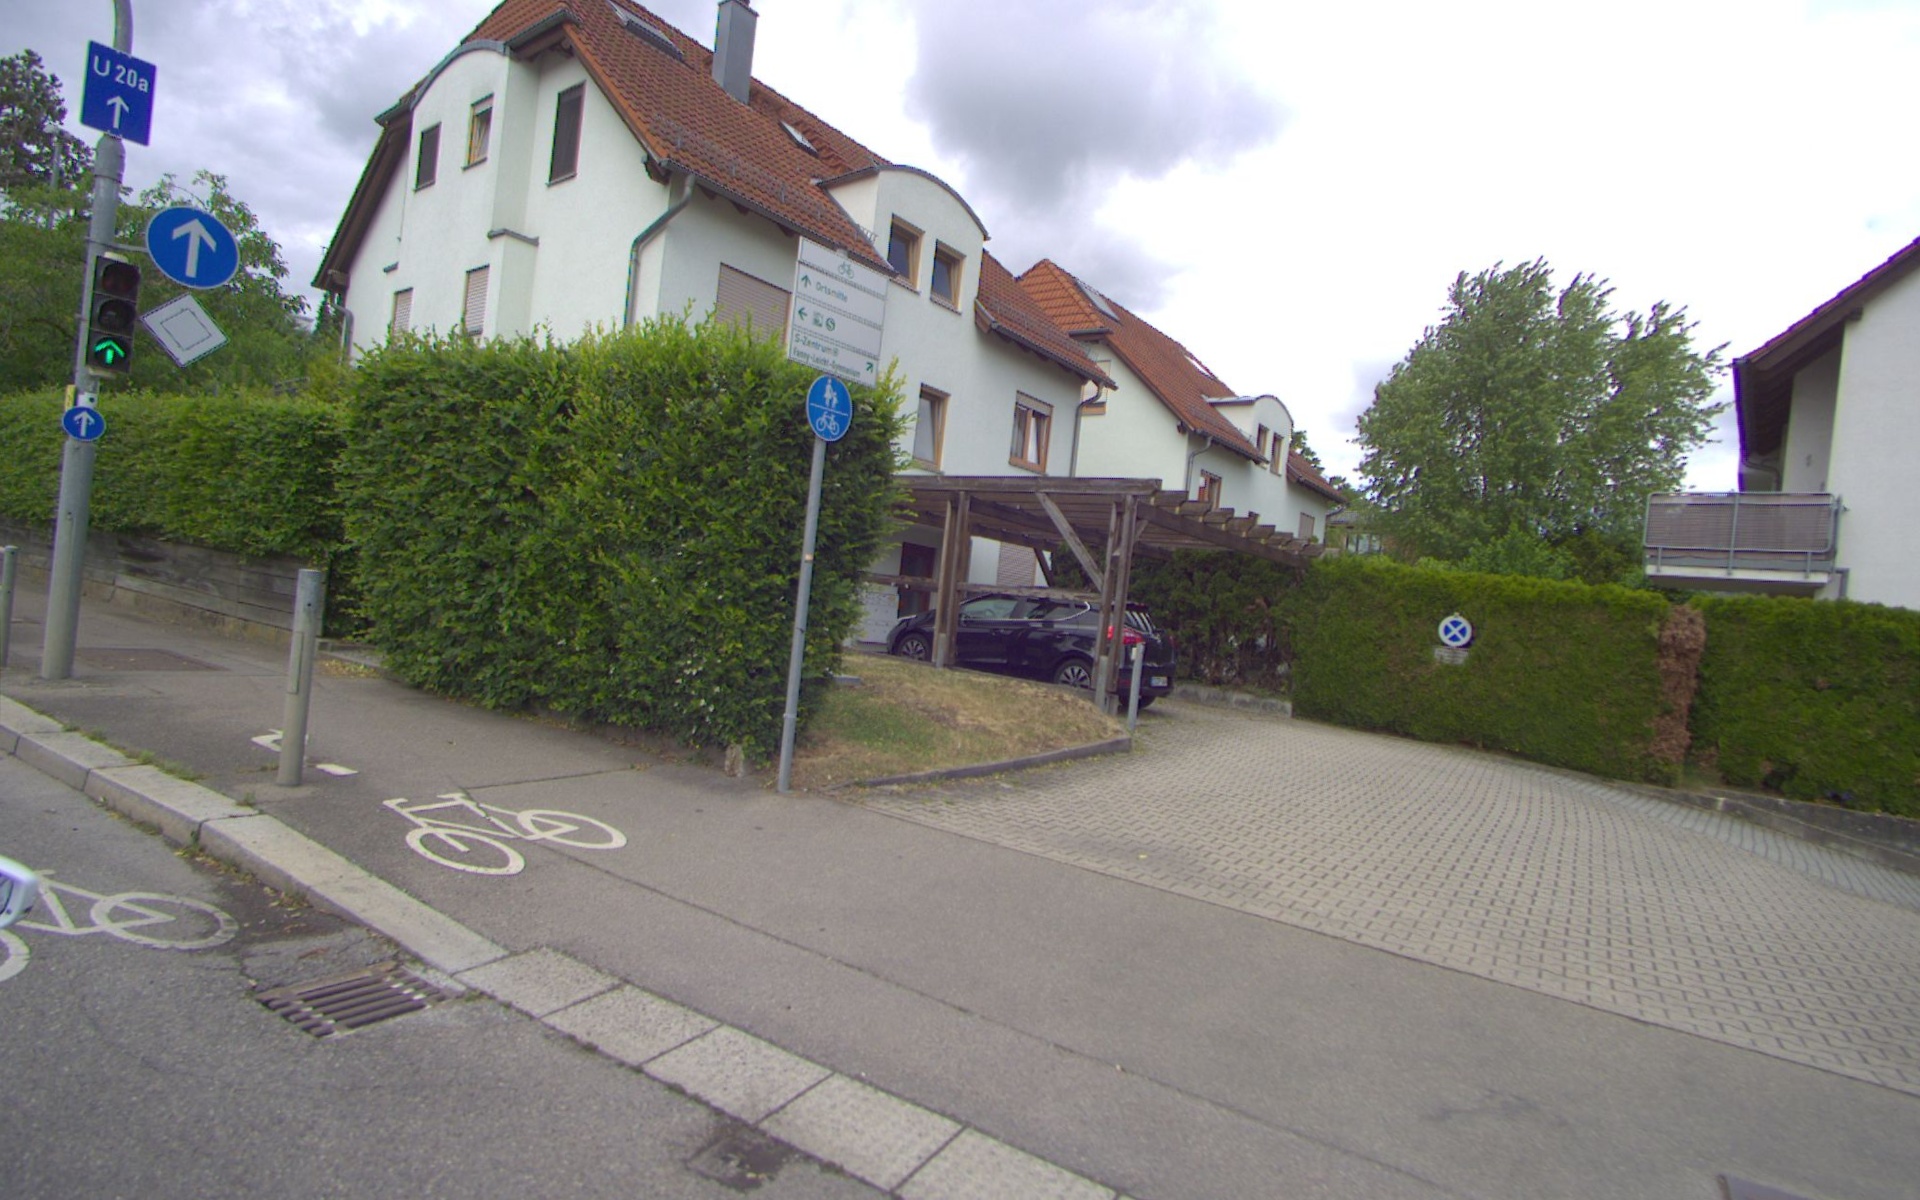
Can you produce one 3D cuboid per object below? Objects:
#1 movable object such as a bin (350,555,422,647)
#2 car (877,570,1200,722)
[{"bbox_3d":[-6.520,0.015,11.424,0.466,0.982,0.474,7,1,32],"label":"movable object such as a bin"},{"bbox_3d":[0.982,0.551,13.575,3.937,1.468,1.667,7,1,35],"label":"car"}]
